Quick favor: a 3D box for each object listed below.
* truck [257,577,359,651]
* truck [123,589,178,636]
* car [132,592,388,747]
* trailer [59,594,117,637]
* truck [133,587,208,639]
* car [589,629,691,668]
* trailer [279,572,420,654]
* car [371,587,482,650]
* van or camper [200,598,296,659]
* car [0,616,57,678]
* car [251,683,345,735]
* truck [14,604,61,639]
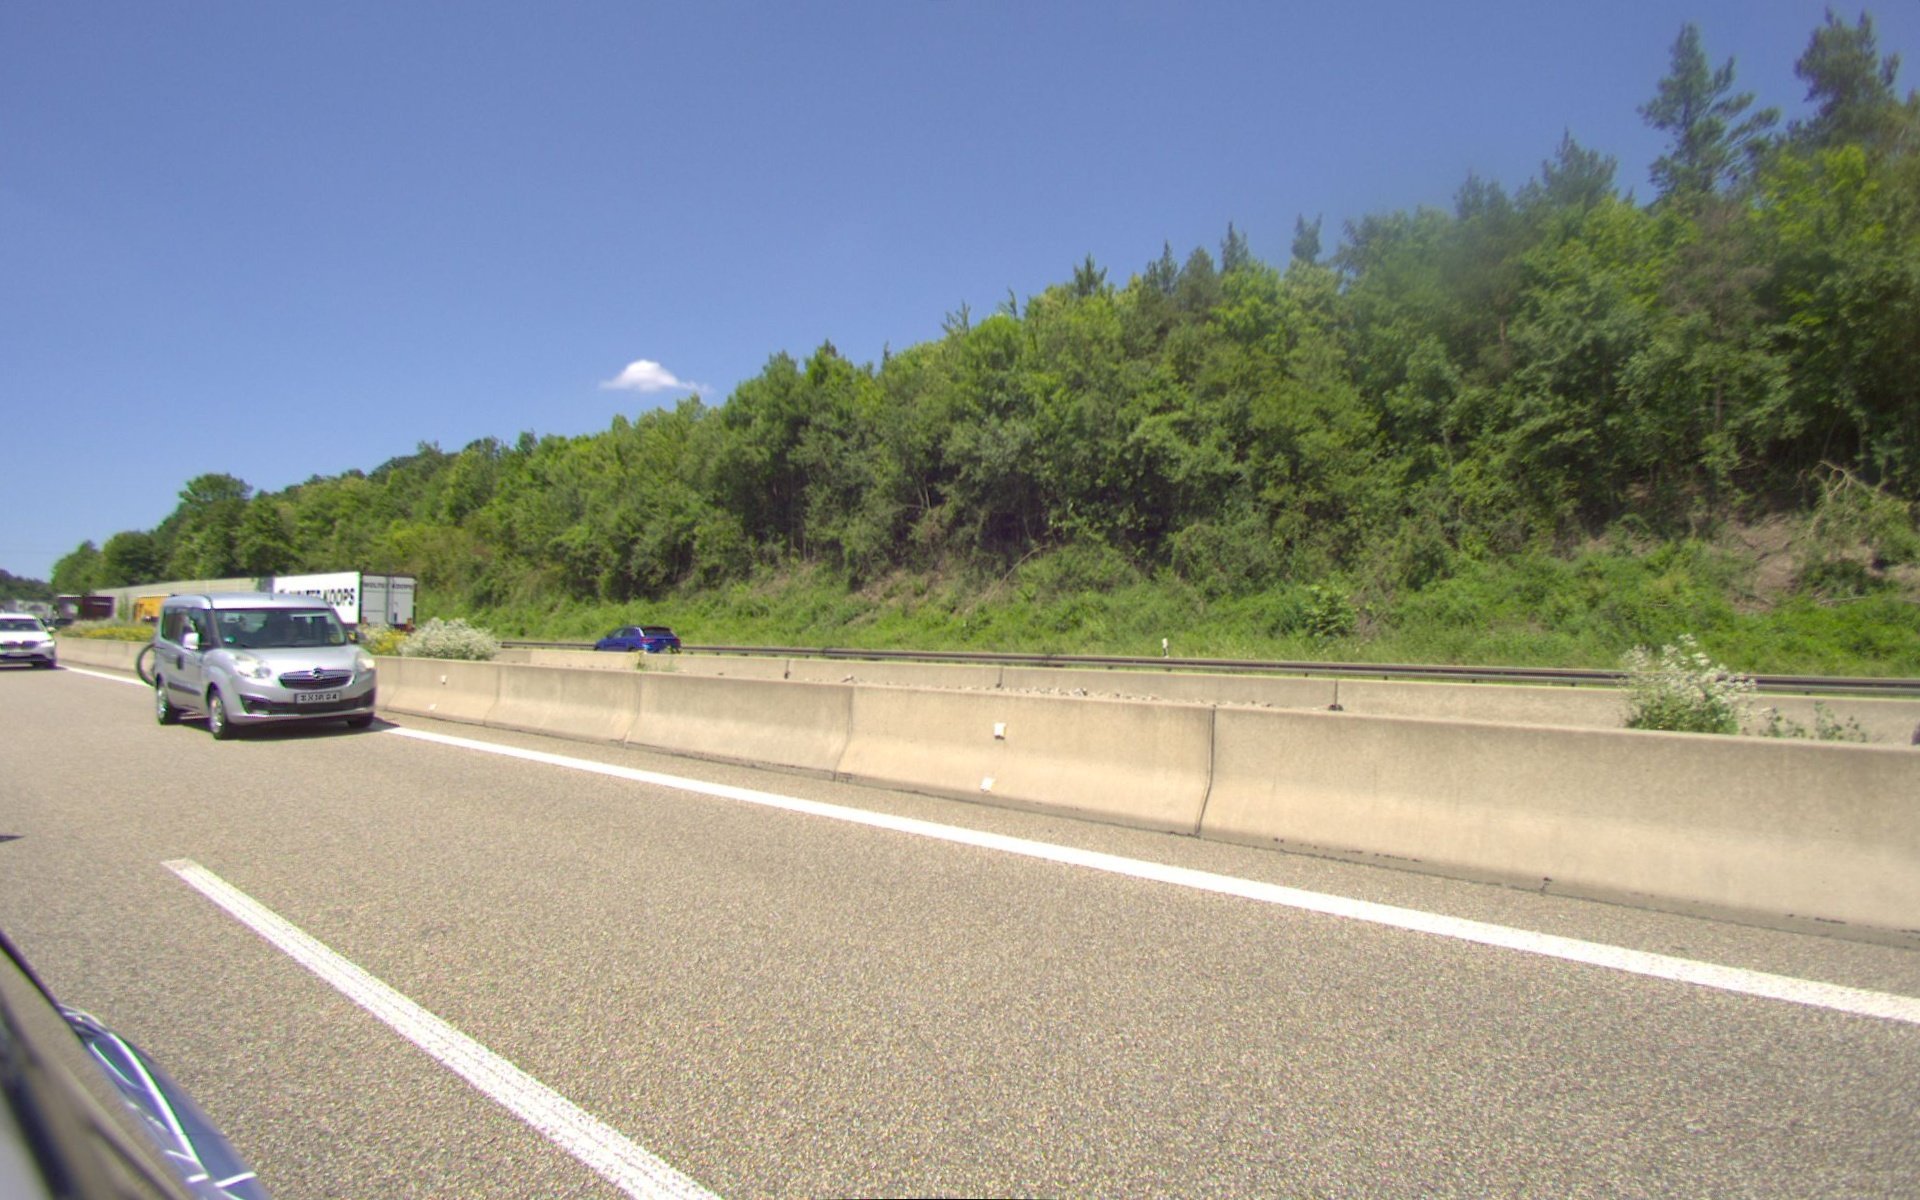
[{"bbox_3d":[-36.676,0.750,56.825,7.212,3.949,2.909,0,0,41],"label":"truck"},{"bbox_3d":[-80.723,1.221,100.884,7.091,4.579,3.059,0,0,41],"label":"truck"},{"bbox_3d":[-9.785,0.810,13.974,4.917,1.786,1.833,0,0,42],"label":"car"},{"bbox_3d":[-87.837,1.513,101.881,7.893,4.226,3.399,0,0,41],"label":"trailer"},{"bbox_3d":[-74.709,1.177,95.550,14.094,4.579,3.059,0,0,42],"label":"truck"},{"bbox_3d":[-12.028,1.787,37.909,4.001,1.344,1.971,-2,-2,44],"label":"car"},{"bbox_3d":[-32.067,0.631,52.834,11.395,3.901,2.966,0,0,41],"label":"trailer"},{"bbox_3d":[-18.303,0.588,34.670,3.996,2.029,1.974,0,0,39],"label":"car"},{"bbox_3d":[-36.283,1.369,51.473,6.707,2.898,2.370,0,0,40],"label":"van or camper"},{"bbox_3d":[-28.736,1.383,30.507,3.998,1.719,1.800,0,0,41],"label":"car"},{"bbox_3d":[-22.819,3.689,34.834,3.998,1.462,1.685,-1,-2,41],"label":"car"},{"bbox_3d":[-126.274,3.007,138.392,14.093,4.580,3.235,-2,-1,42],"label":"truck"}]
